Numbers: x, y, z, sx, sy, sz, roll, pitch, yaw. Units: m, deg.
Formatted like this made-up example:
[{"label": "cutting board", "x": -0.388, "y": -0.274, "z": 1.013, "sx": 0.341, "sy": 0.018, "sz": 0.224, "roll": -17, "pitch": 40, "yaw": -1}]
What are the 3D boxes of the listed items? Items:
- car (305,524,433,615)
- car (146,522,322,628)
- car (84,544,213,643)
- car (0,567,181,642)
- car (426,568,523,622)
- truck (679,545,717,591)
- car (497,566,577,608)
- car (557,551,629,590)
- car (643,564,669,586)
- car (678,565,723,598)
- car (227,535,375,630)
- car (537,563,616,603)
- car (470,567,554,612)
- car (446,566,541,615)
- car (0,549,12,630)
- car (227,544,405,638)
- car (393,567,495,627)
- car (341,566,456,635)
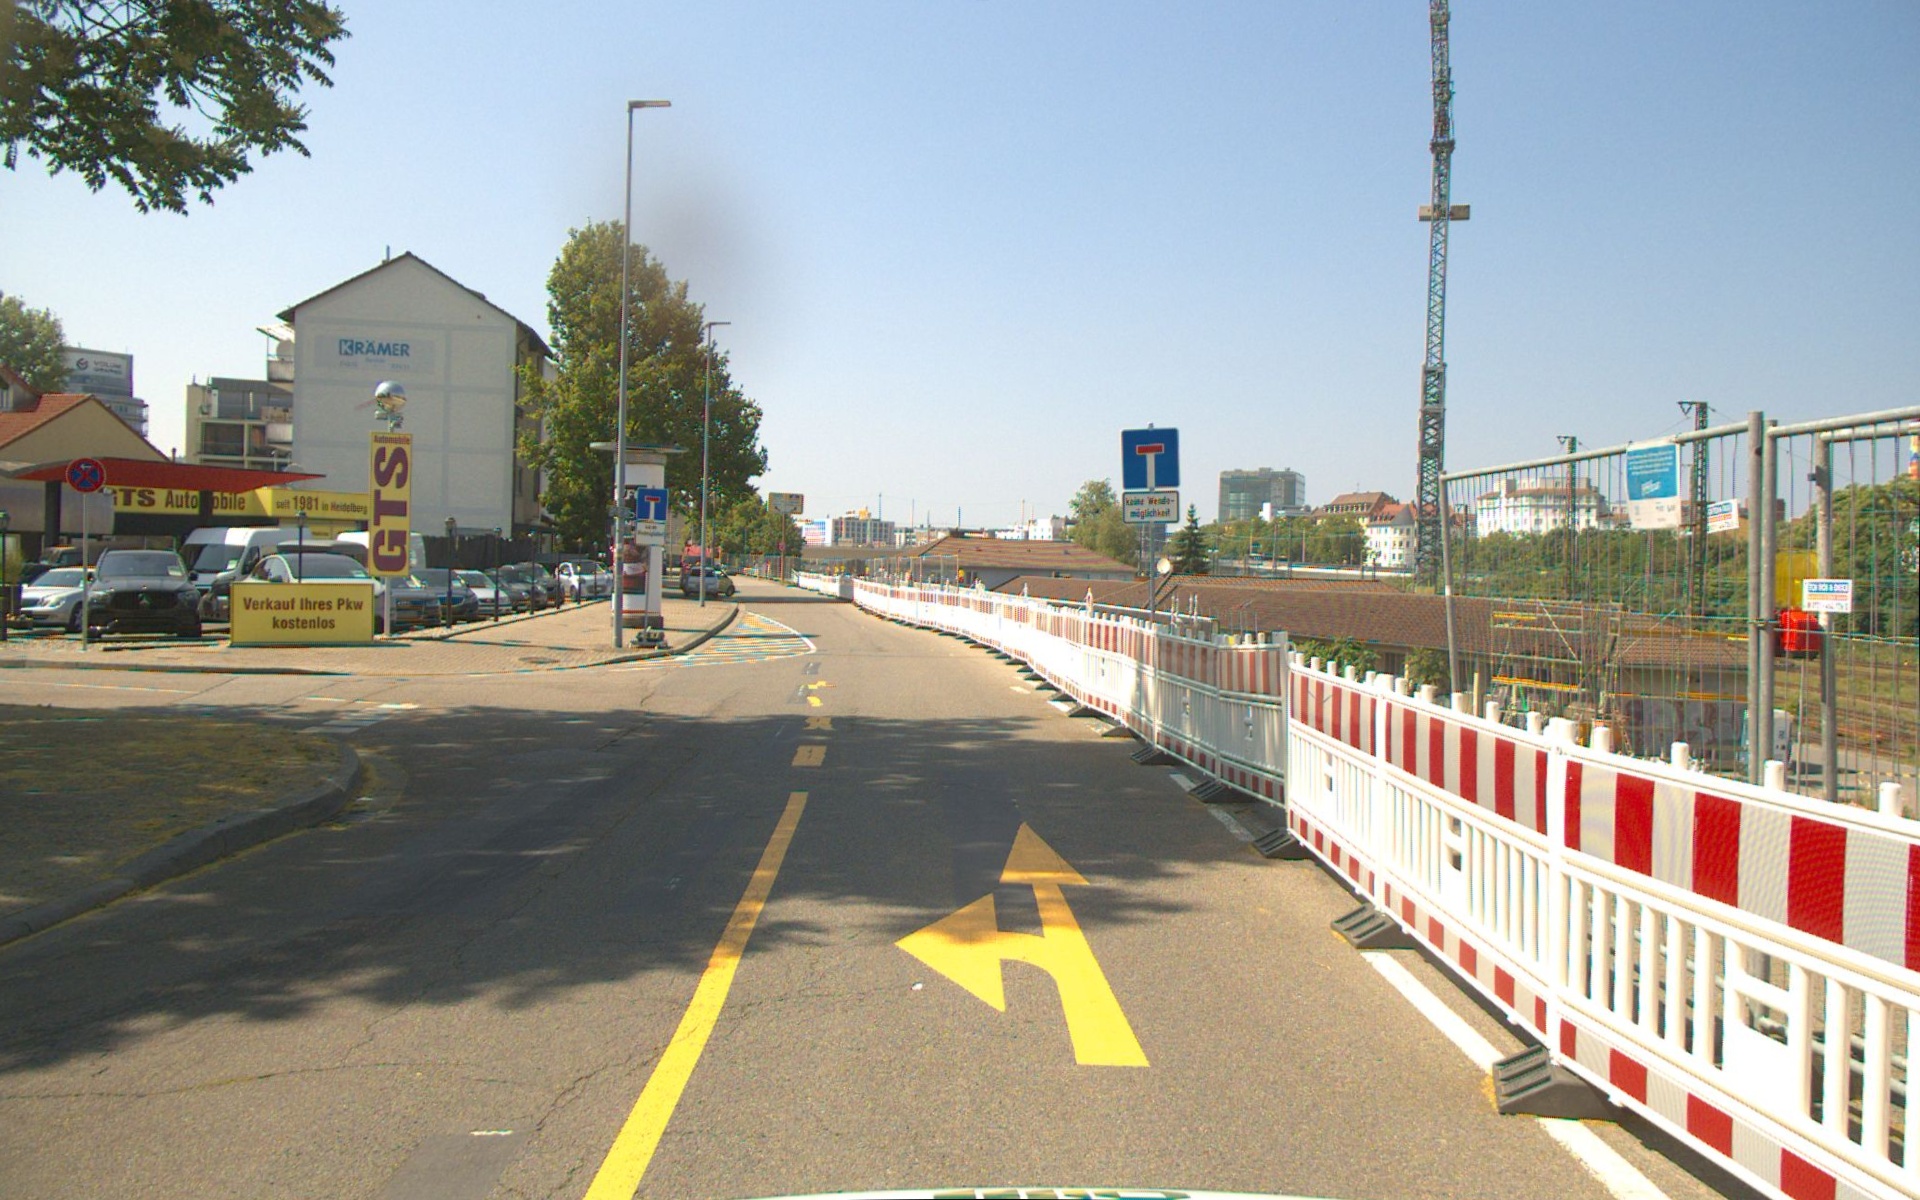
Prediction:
[{"label": "car", "x": -18.061, "y": -0.876, "z": 50.870, "sx": 2.203, "sy": 2.472, "sz": 5.712, "roll": 4, "pitch": 0, "yaw": -6}, {"label": "car", "x": -20.466, "y": -0.676, "z": 46.986, "sx": 2.230, "sy": 2.806, "sz": 6.153, "roll": 1, "pitch": 0, "yaw": 0}, {"label": "car", "x": -15.558, "y": -0.102, "z": 31.601, "sx": 2.020, "sy": 1.737, "sz": 4.273, "roll": 0, "pitch": 0, "yaw": -29}, {"label": "car", "x": -20.287, "y": 0.048, "z": 38.302, "sx": 1.868, "sy": 1.602, "sz": 4.691, "roll": 1, "pitch": 1, "yaw": 6}, {"label": "car", "x": -14.591, "y": -0.172, "z": 49.586, "sx": 1.763, "sy": 1.498, "sz": 3.956, "roll": -2, "pitch": 2, "yaw": -32}, {"label": "truck", "x": -16.042, "y": -1.919, "z": 101.375, "sx": 2.196, "sy": 2.694, "sz": 5.671, "roll": 1, "pitch": 0, "yaw": -8}, {"label": "car", "x": -16.092, "y": -0.497, "z": 62.802, "sx": 1.653, "sy": 1.498, "sz": 3.952, "roll": -2, "pitch": 2, "yaw": -34}, {"label": "car", "x": -20.740, "y": -1.674, "z": 93.346, "sx": 3.857, "sy": 1.993, "sz": 1.753, "roll": 2, "pitch": 1, "yaw": -14}, {"label": "car", "x": -28.885, "y": -2.392, "z": 157.456, "sx": 1.899, "sy": 1.866, "sz": 3.920, "roll": 5, "pitch": 0, "yaw": -5}, {"label": "car", "x": -12.865, "y": -0.931, "z": 82.222, "sx": 1.832, "sy": 1.524, "sz": 4.029, "roll": 0, "pitch": 2, "yaw": -4}, {"label": "car", "x": -17.634, "y": -0.439, "z": 44.537, "sx": 2.201, "sy": 2.391, "sz": 4.821, "roll": 1, "pitch": 0, "yaw": -2}, {"label": "car", "x": -15.402, "y": -0.696, "z": 66.326, "sx": 1.761, "sy": 1.498, "sz": 3.952, "roll": -2, "pitch": 2, "yaw": -34}, {"label": "car", "x": -15.808, "y": -0.376, "z": 58.249, "sx": 1.653, "sy": 1.498, "sz": 3.952, "roll": -2, "pitch": 2, "yaw": -34}, {"label": "car", "x": -15.189, "y": -0.334, "z": 53.754, "sx": 1.655, "sy": 1.498, "sz": 3.947, "roll": -2, "pitch": 2, "yaw": -37}, {"label": "car", "x": -24.407, "y": -0.254, "z": 37.339, "sx": 4.856, "sy": 1.874, "sz": 2.127, "roll": 0, "pitch": 1, "yaw": -45}, {"label": "car", "x": -13.218, "y": -0.156, "z": 33.818, "sx": 1.964, "sy": 1.736, "sz": 4.594, "roll": -1, "pitch": -1, "yaw": -41}, {"label": "car", "x": -13.846, "y": -0.111, "z": 44.257, "sx": 1.817, "sy": 1.498, "sz": 3.961, "roll": -2, "pitch": 2, "yaw": -29}, {"label": "car", "x": -13.196, "y": -0.019, "z": 38.766, "sx": 1.817, "sy": 1.498, "sz": 3.960, "roll": -2, "pitch": 2, "yaw": -30}]
